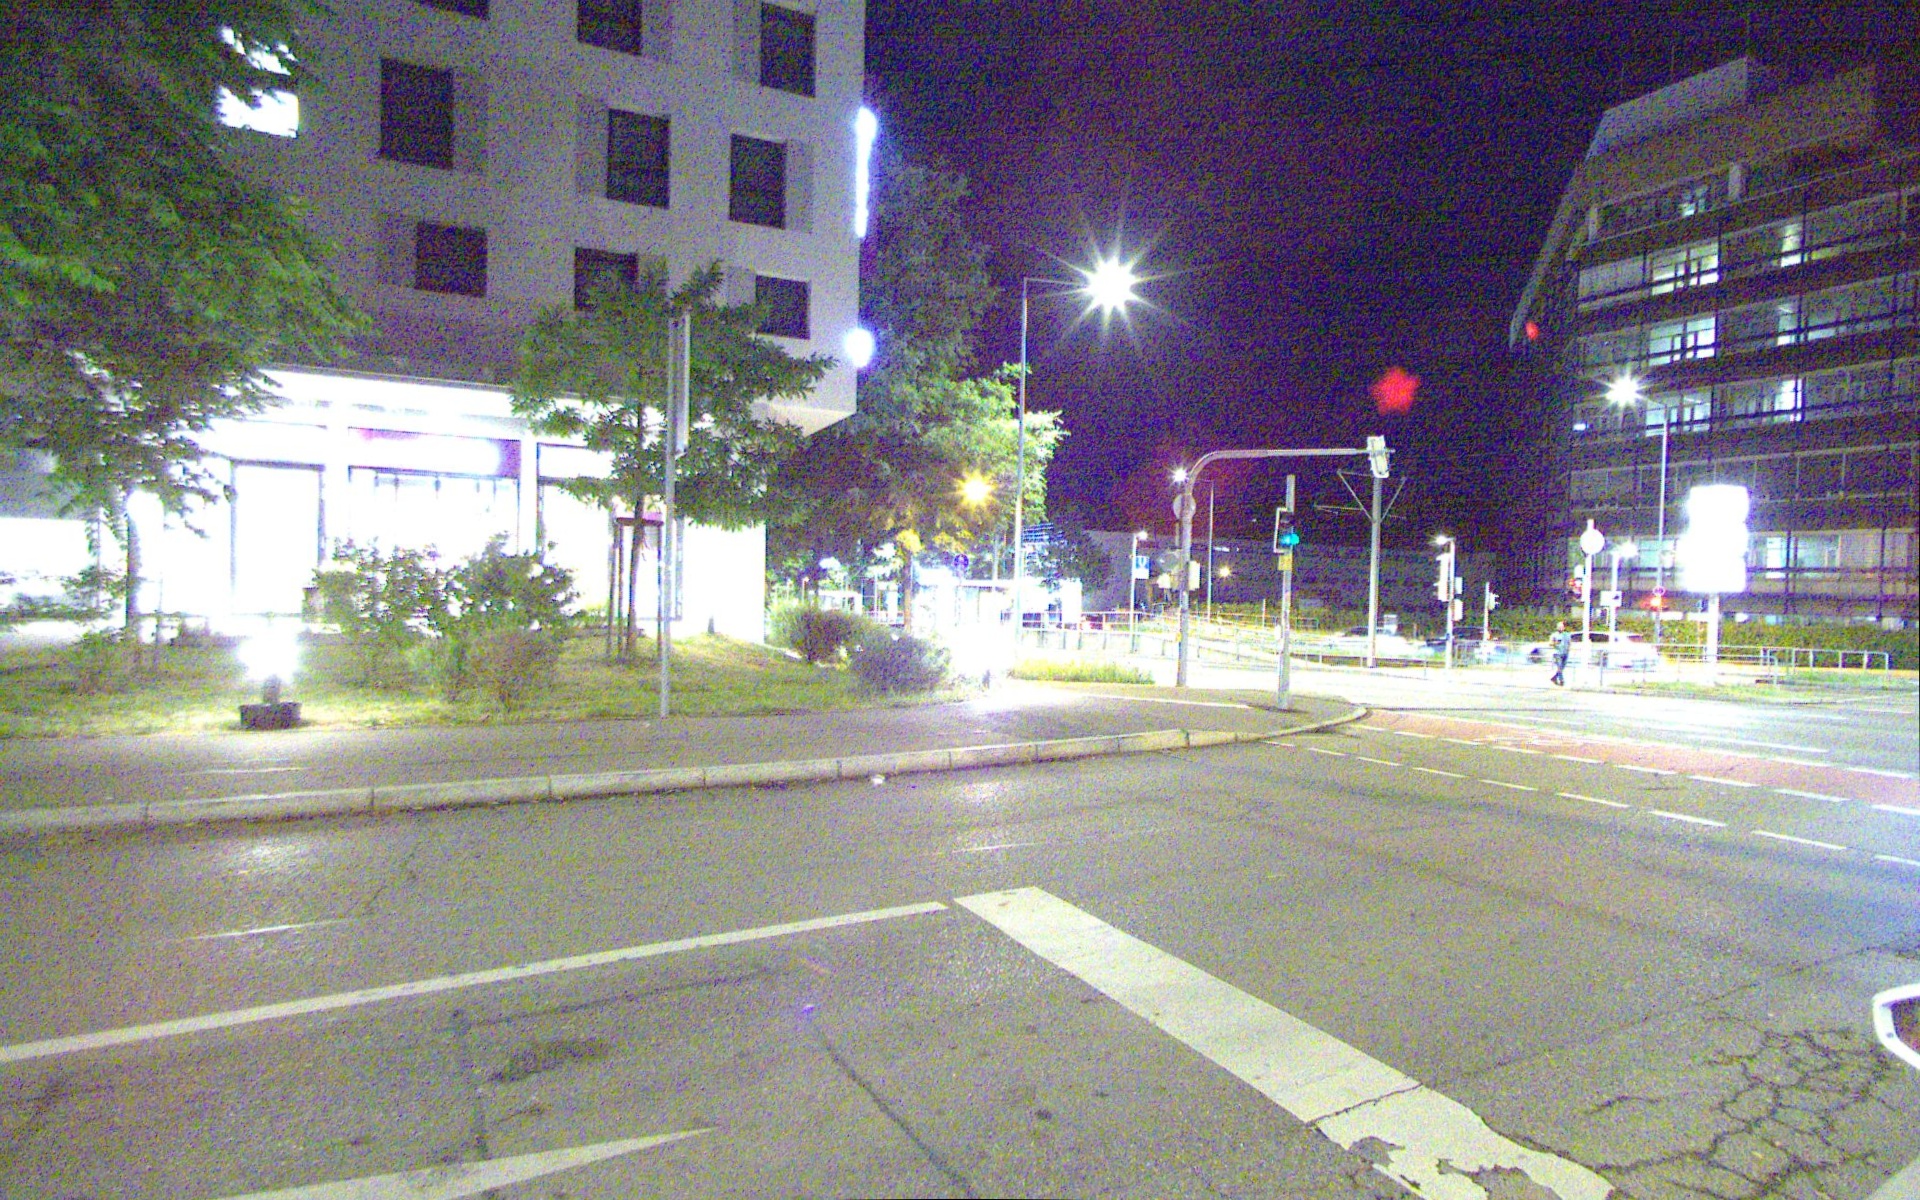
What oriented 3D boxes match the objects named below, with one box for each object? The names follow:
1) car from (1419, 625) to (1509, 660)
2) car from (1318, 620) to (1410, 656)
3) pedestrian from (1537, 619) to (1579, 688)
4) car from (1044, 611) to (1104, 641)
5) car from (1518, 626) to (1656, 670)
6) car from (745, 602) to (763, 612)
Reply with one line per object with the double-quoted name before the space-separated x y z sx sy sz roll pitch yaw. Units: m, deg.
"car" 25.125 2.090 50.219 1.786 1.653 3.810 1 -1 -23
"car" 19.268 1.796 48.089 1.845 1.506 3.822 3 0 -26
"pedestrian" 15.625 1.385 26.253 0.665 1.745 0.707 2 0 11
"car" 8.123 1.833 72.119 1.845 1.909 4.926 3 0 -26
"car" 25.585 1.934 41.191 1.755 1.506 4.559 1 0 -26
"car" -33.457 1.141 162.937 1.845 1.506 3.822 3 0 -26
